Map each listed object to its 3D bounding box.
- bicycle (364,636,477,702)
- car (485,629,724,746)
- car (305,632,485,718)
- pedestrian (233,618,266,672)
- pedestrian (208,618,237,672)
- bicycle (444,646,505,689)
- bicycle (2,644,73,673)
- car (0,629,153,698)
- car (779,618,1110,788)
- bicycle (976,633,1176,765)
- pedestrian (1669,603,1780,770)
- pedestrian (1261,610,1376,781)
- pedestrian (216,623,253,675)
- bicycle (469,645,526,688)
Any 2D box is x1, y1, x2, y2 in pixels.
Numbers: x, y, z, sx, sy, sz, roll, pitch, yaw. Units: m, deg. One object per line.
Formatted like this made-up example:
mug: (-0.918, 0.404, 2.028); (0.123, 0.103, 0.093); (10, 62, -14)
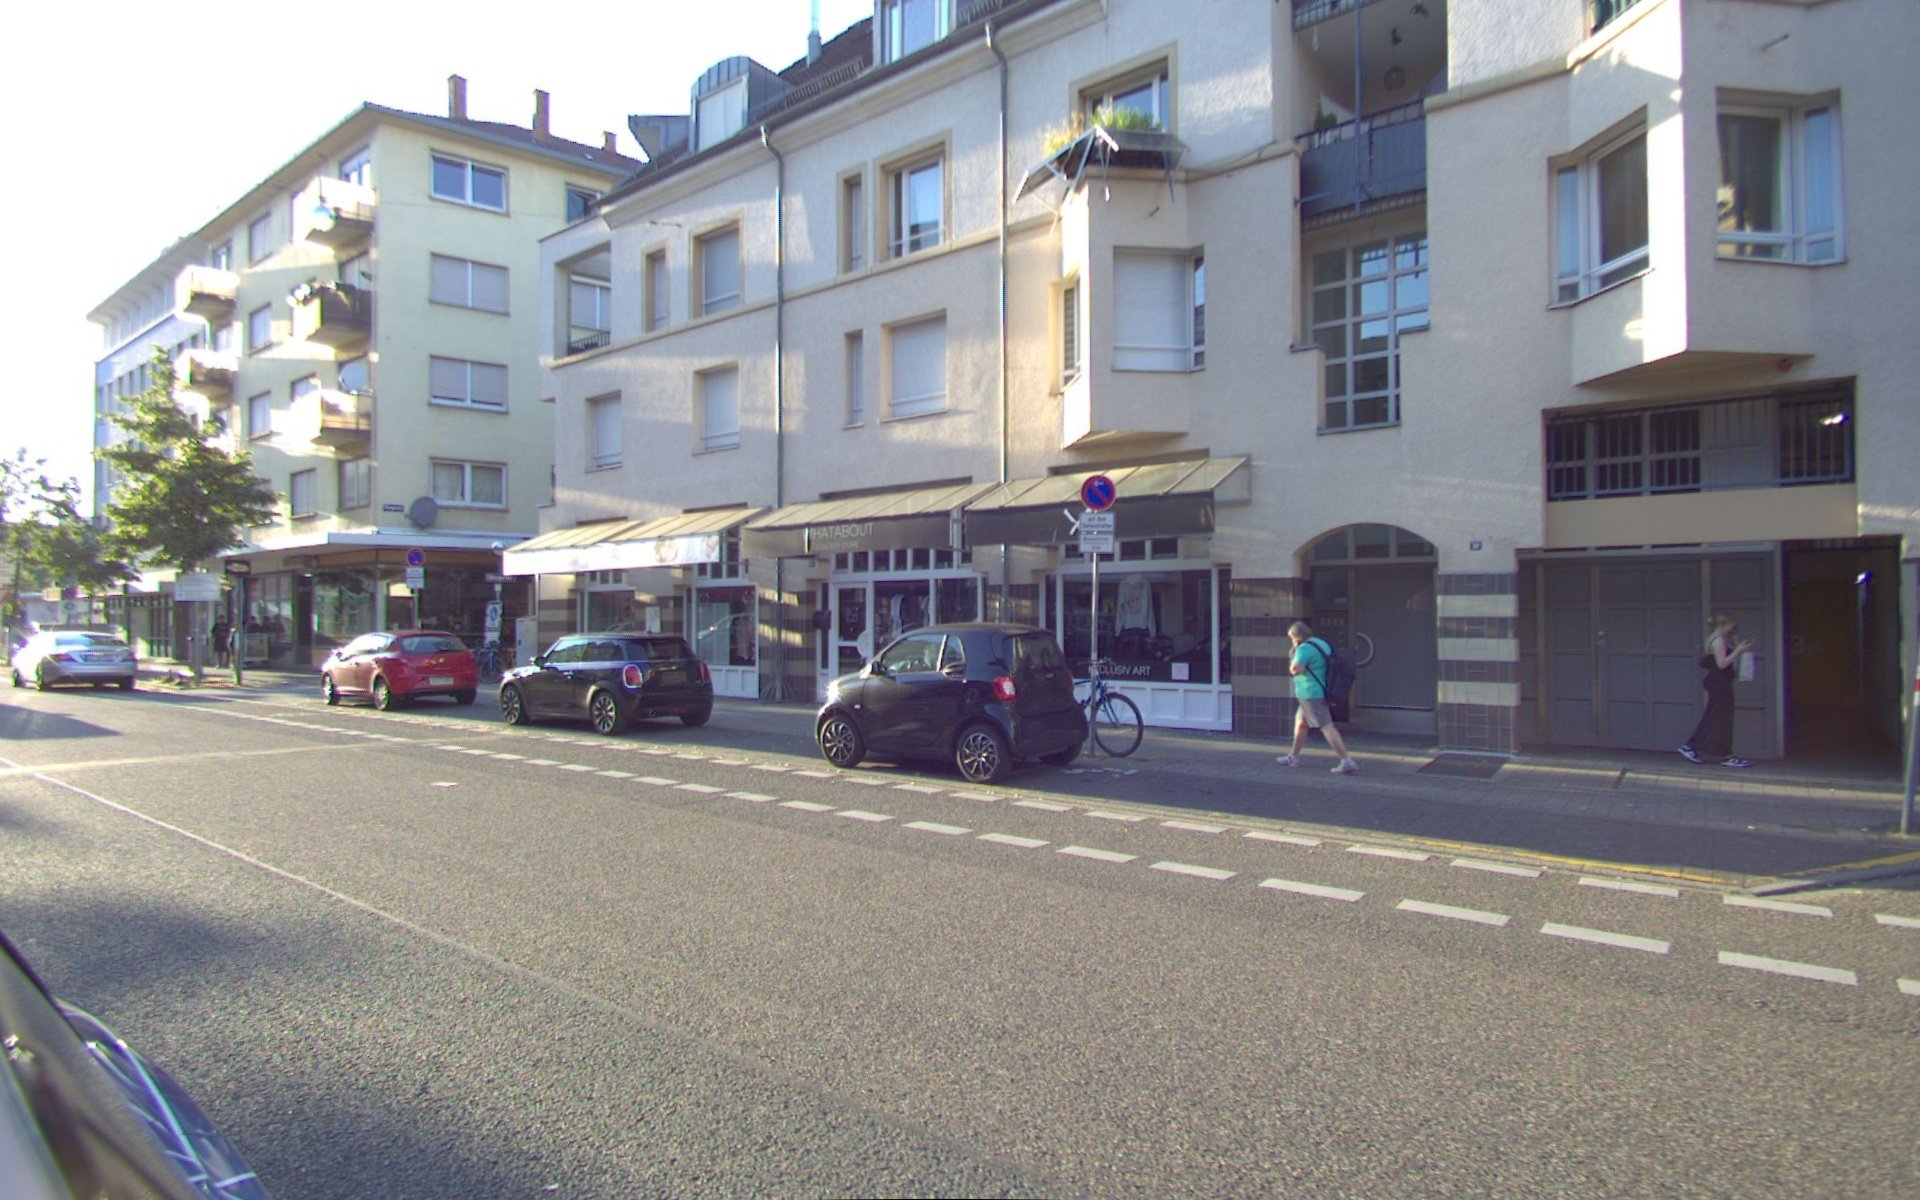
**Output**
bicycle: (-11.974, 1.482, 22.404); (3.121, 1.310, 0.950); (-1, 0, 36)
car: (-5.431, 1.218, 15.294); (3.720, 1.464, 1.694); (-1, 0, 38)
car: (-10.935, 1.365, 19.508); (3.878, 1.413, 1.645); (-1, 0, 38)
pedestrian: (-24.592, 1.554, 35.010); (0.813, 1.833, 0.733); (-3, -3, 40)
pedestrian: (-25.815, 1.585, 35.433); (0.758, 1.862, 0.744); (1, -3, -42)
bicycle: (-12.113, 1.664, 25.241); (2.012, 0.999, 0.485); (-1, 0, 36)
bicycle: (-36.044, 2.268, 39.558); (0.490, 0.999, 1.993); (-1, 0, 34)
car: (-21.773, 1.521, 24.893); (4.503, 1.523, 1.974); (-1, -4, 38)
car: (-0.204, 0.986, 11.003); (3.182, 1.547, 1.776); (-1, -1, 35)
bicycle: (1.319, 1.107, 11.918); (2.355, 1.385, 0.604); (-1, 0, 38)
pedestrian: (7.884, 0.850, 10.435); (0.854, 1.628, 0.709); (-1, 0, 40)
pedestrian: (3.700, 0.938, 10.451); (0.949, 1.654, 0.710); (-1, 0, 35)
pedestrian: (-24.114, 1.617, 33.653); (0.758, 1.689, 0.744); (-1, -1, -10)
bicycle: (-11.734, 1.656, 25.637); (2.014, 0.999, 0.485); (-1, 0, 40)
